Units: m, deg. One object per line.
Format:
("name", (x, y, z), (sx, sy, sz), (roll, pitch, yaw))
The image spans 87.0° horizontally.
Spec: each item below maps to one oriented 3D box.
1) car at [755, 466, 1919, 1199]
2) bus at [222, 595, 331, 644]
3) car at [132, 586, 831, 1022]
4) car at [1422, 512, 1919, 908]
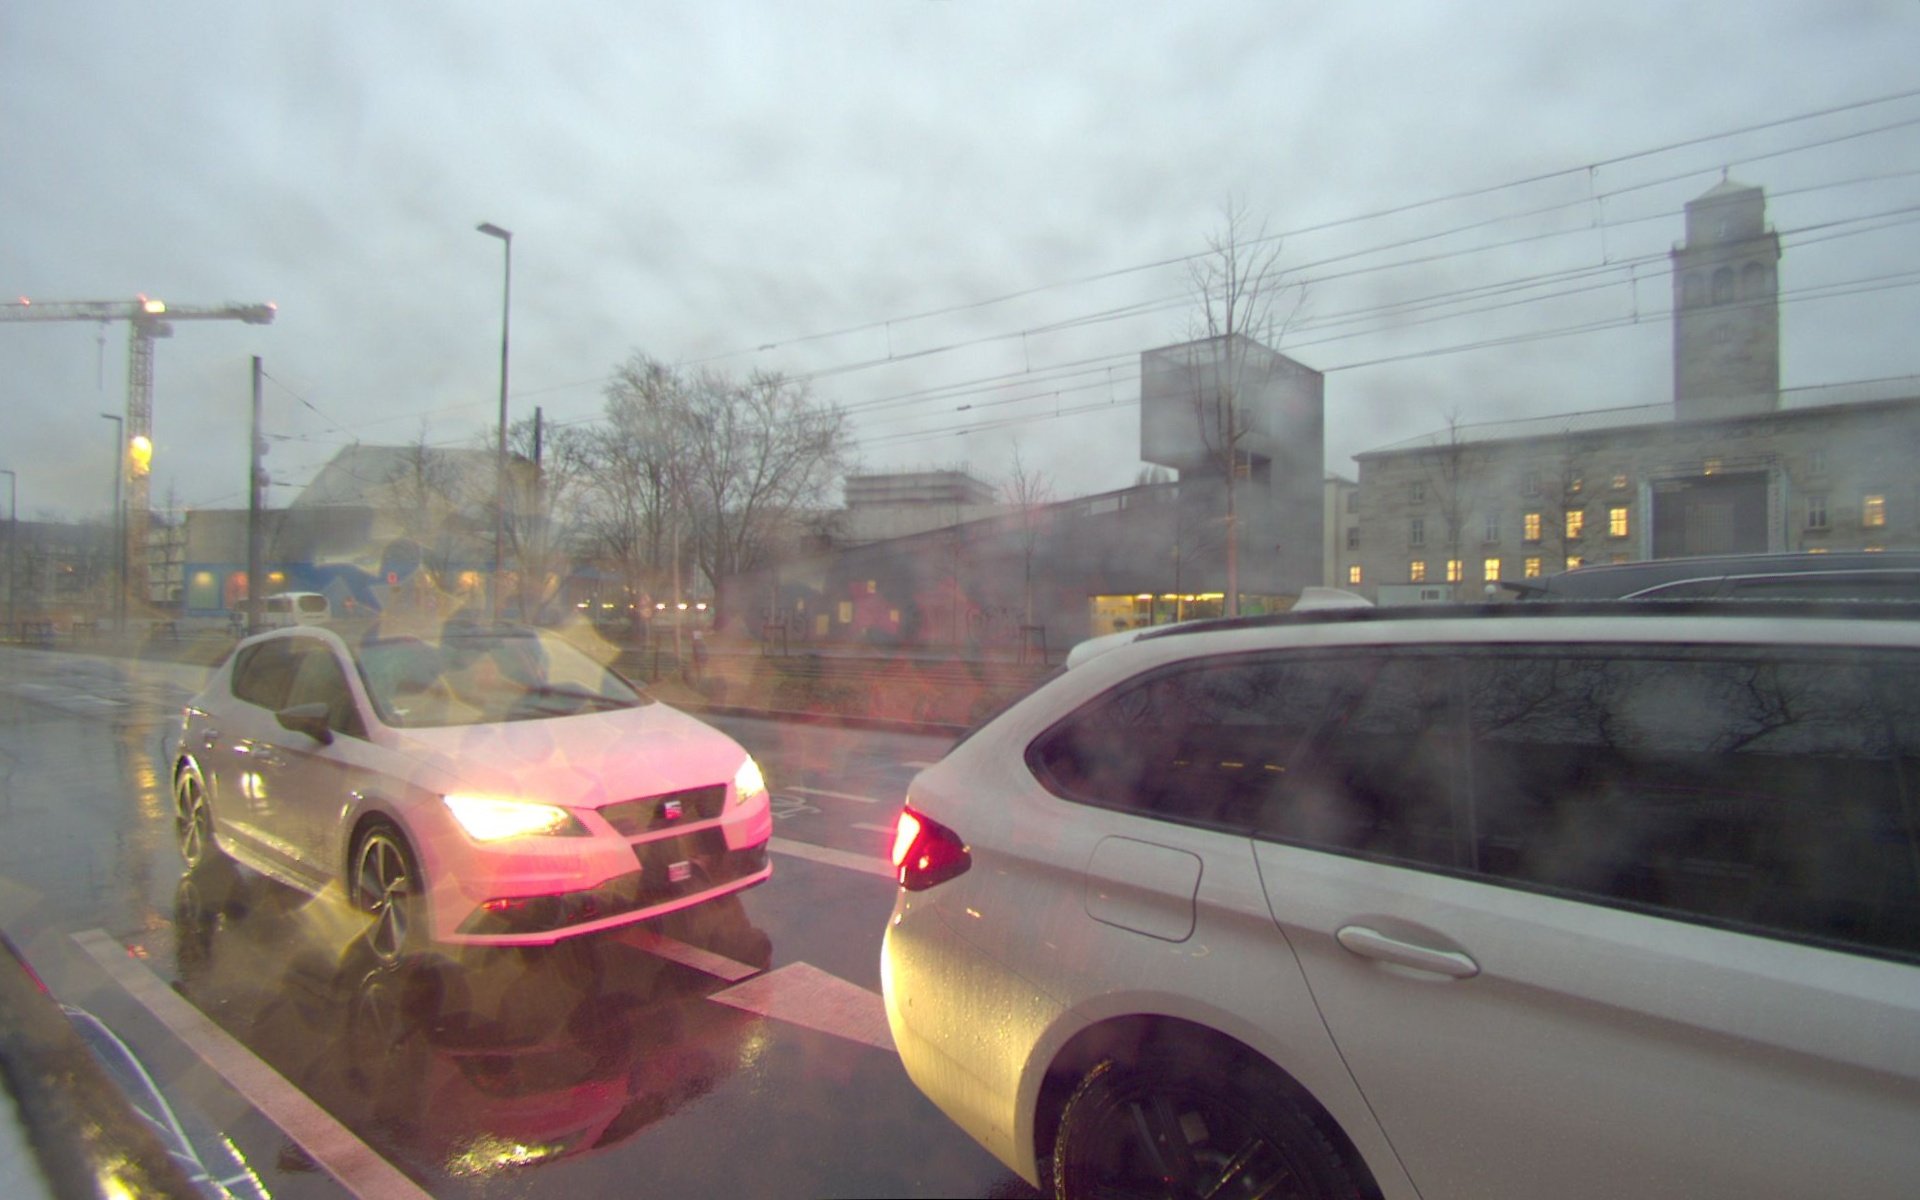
("car", (1.960, 0.623, 1.733), (4.919, 1.532, 1.890), (-1, -2, 40))
("bus", (-53.314, 1.534, 78.799), (12.277, 3.605, 2.783), (-1, -2, 35))
("car", (-2.767, 0.729, 5.439), (4.124, 1.486, 1.757), (-1, -1, 38))
("car", (4.960, 0.501, 5.022), (4.605, 1.756, 1.686), (-1, -2, 38))
